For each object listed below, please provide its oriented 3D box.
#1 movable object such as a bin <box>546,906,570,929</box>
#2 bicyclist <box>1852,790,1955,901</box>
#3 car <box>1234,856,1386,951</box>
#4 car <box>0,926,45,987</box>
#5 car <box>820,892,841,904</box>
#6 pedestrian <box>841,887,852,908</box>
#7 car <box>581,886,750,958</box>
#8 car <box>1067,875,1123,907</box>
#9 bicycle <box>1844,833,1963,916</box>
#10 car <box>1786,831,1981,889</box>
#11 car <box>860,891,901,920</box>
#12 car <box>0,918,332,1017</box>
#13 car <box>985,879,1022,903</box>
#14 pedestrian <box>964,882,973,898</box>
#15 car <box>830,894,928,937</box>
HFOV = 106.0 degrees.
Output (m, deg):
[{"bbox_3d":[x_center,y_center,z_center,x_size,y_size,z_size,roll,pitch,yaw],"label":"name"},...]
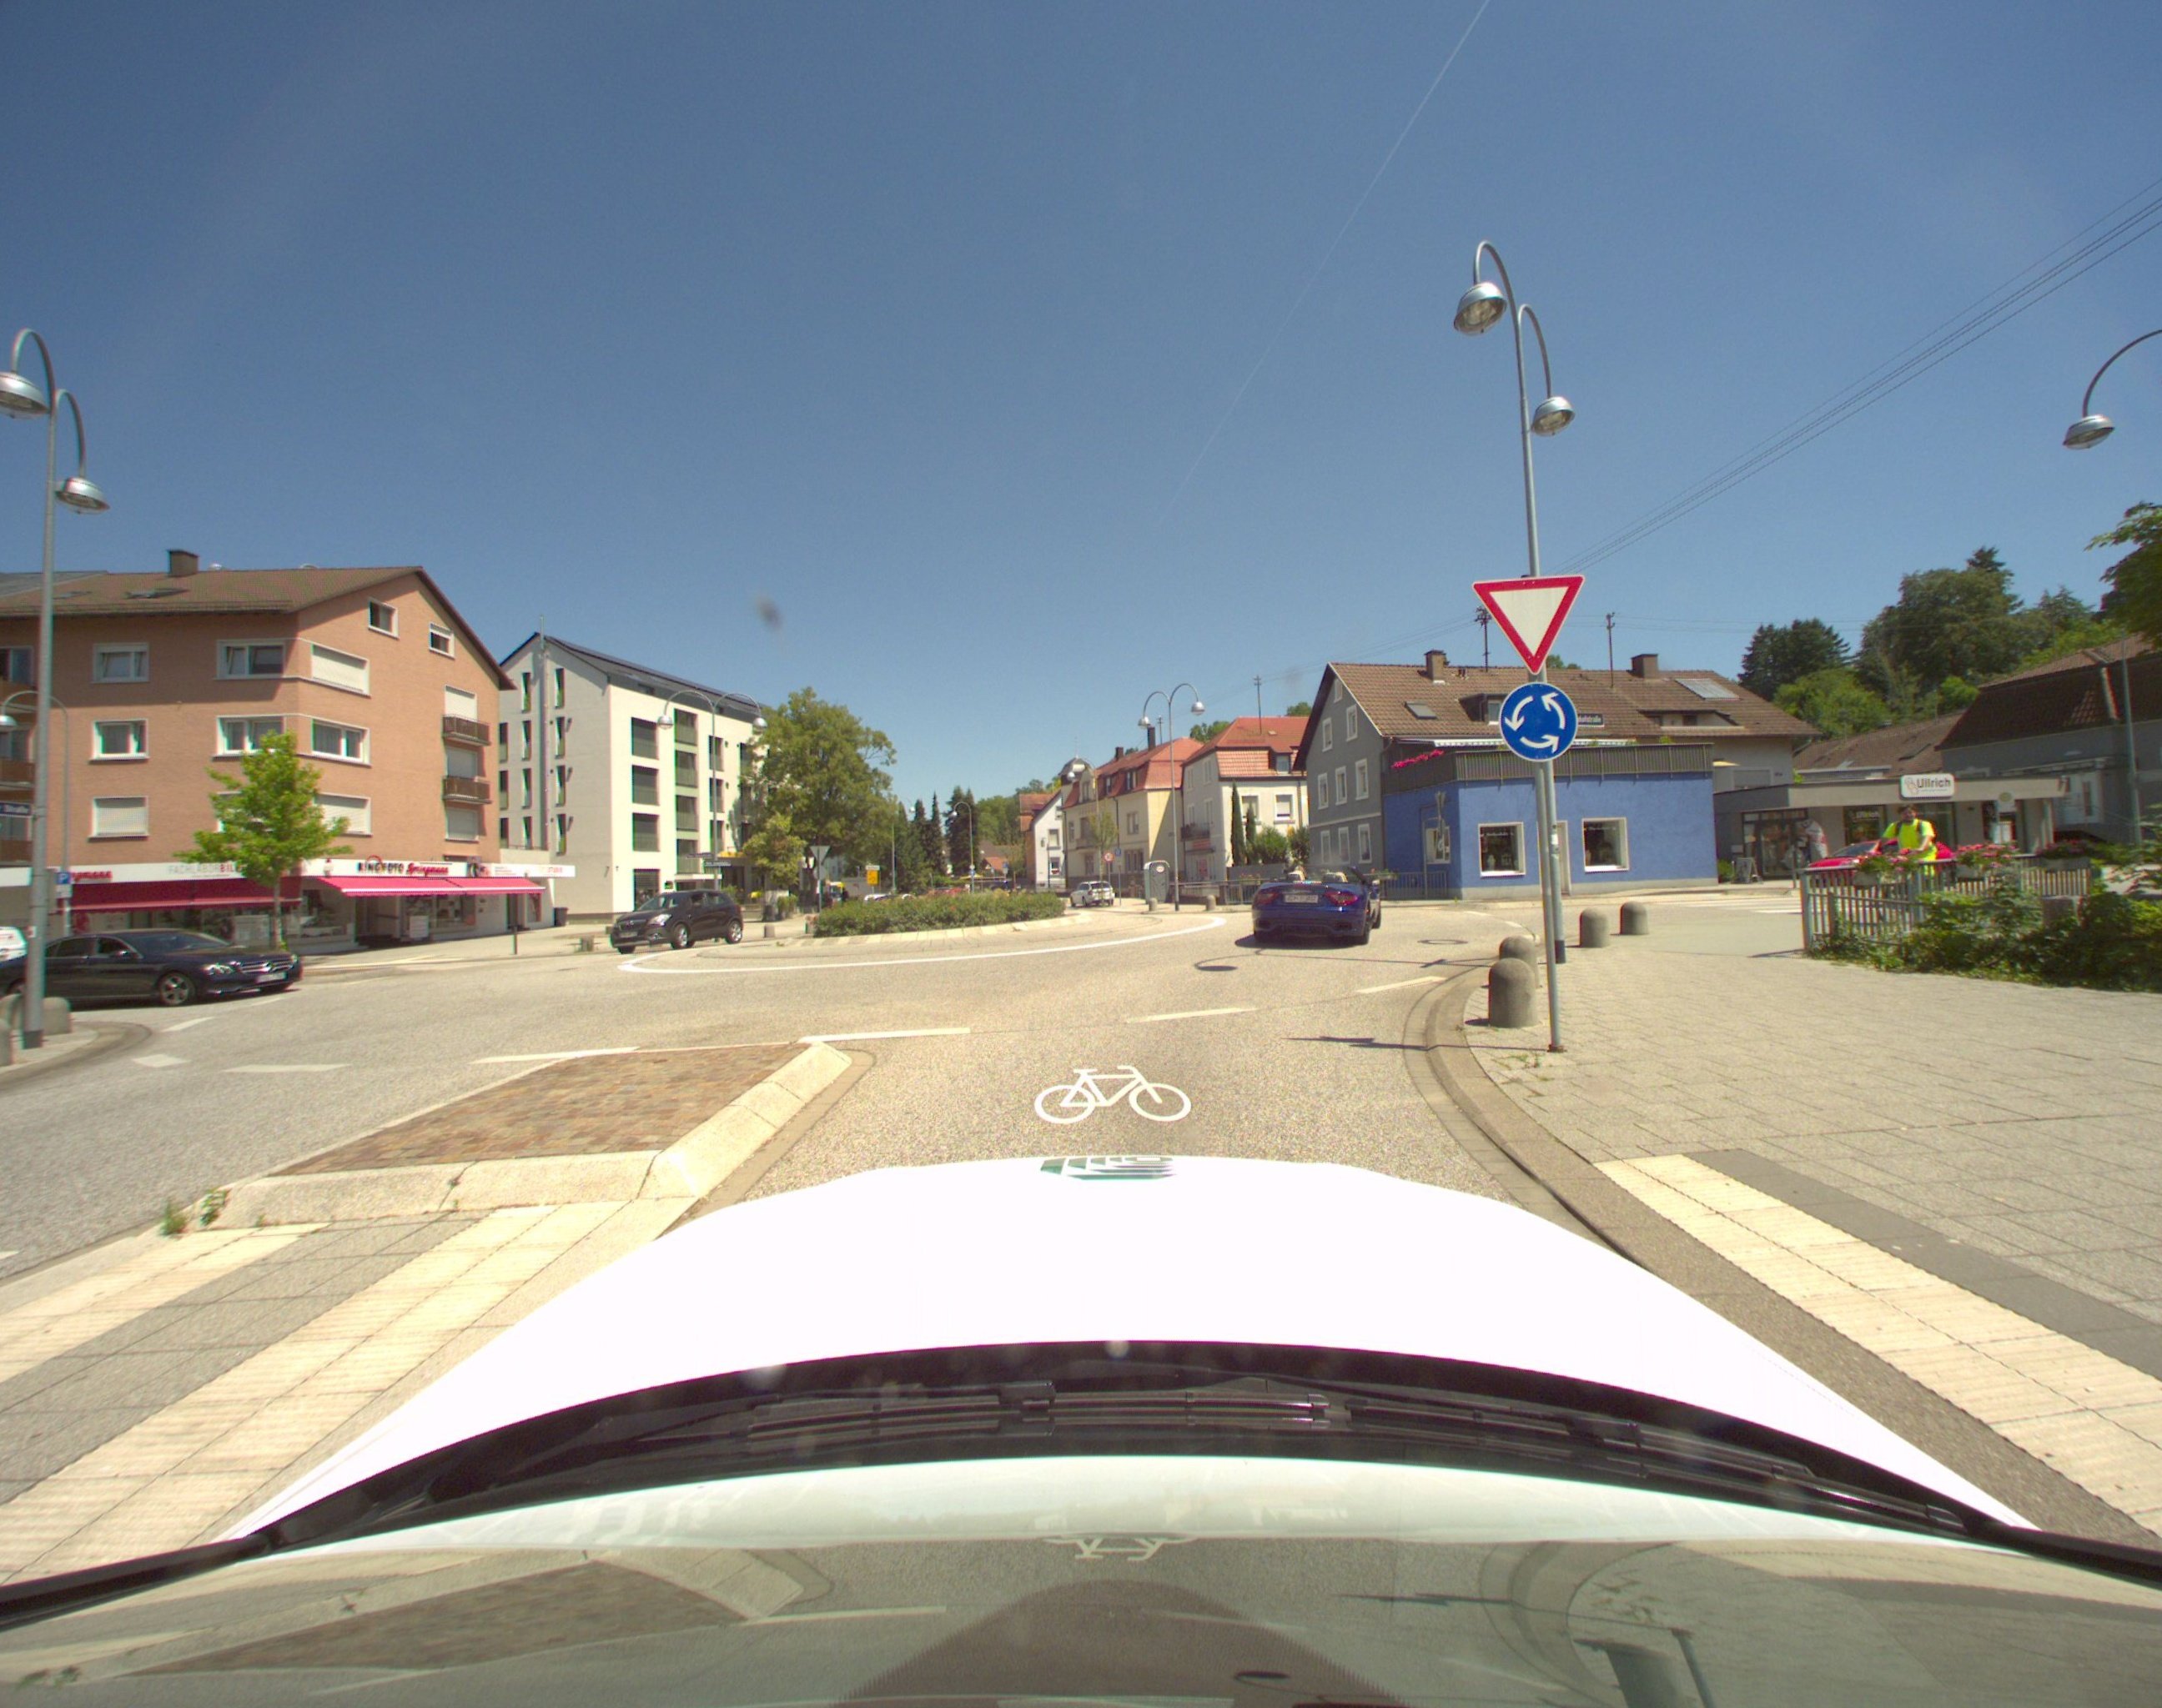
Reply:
[{"bbox_3d":[-27.914,3.399,43.470,0.765,1.155,0.764,-1,-1,17],"label":"movable object such as a bin"},{"bbox_3d":[12.709,-0.119,12.594,1.066,1.635,0.803,-2,-2,-30],"label":"bicyclist"},{"bbox_3d":[4.388,0.767,15.042,1.958,1.398,4.654,0,1,25],"label":"car"},{"bbox_3d":[-34.046,3.186,24.113,3.899,1.724,1.746,-3,0,-11],"label":"car"},{"bbox_3d":[-32.937,5.774,106.957,1.551,1.378,3.958,-1,-2,-33],"label":"car"},{"bbox_3d":[-17.282,3.227,60.004,0.527,1.485,0.558,-3,-2,13],"label":"pedestrian"},{"bbox_3d":[-11.418,1.808,22.759,1.982,1.562,4.177,-5,-1,9],"label":"car"},{"bbox_3d":[0.786,2.197,48.197,1.998,1.584,4.262,-6,-1,-16],"label":"car"},{"bbox_3d":[12.717,0.303,12.581,1.858,1.156,0.803,-2,-2,-31],"label":"bicycle"},{"bbox_3d":[24.309,0.221,24.789,3.971,1.533,1.835,-2,-3,2],"label":"car"},{"bbox_3d":[-11.818,2.998,48.313,1.793,1.590,3.991,0,-2,-6],"label":"car"},{"bbox_3d":[-18.165,2.204,16.175,4.676,1.477,2.001,-3,-1,1],"label":"car"},{"bbox_3d":[-6.682,3.139,70.109,2.002,1.865,4.253,0,-1,-23],"label":"car"},{"bbox_3d":[-12.604,4.011,91.400,0.846,1.814,0.545,0,-1,-22],"label":"pedestrian"},{"bbox_3d":[-8.238,2.506,33.673,1.912,1.382,4.306,-5,-2,16],"label":"car"}]
